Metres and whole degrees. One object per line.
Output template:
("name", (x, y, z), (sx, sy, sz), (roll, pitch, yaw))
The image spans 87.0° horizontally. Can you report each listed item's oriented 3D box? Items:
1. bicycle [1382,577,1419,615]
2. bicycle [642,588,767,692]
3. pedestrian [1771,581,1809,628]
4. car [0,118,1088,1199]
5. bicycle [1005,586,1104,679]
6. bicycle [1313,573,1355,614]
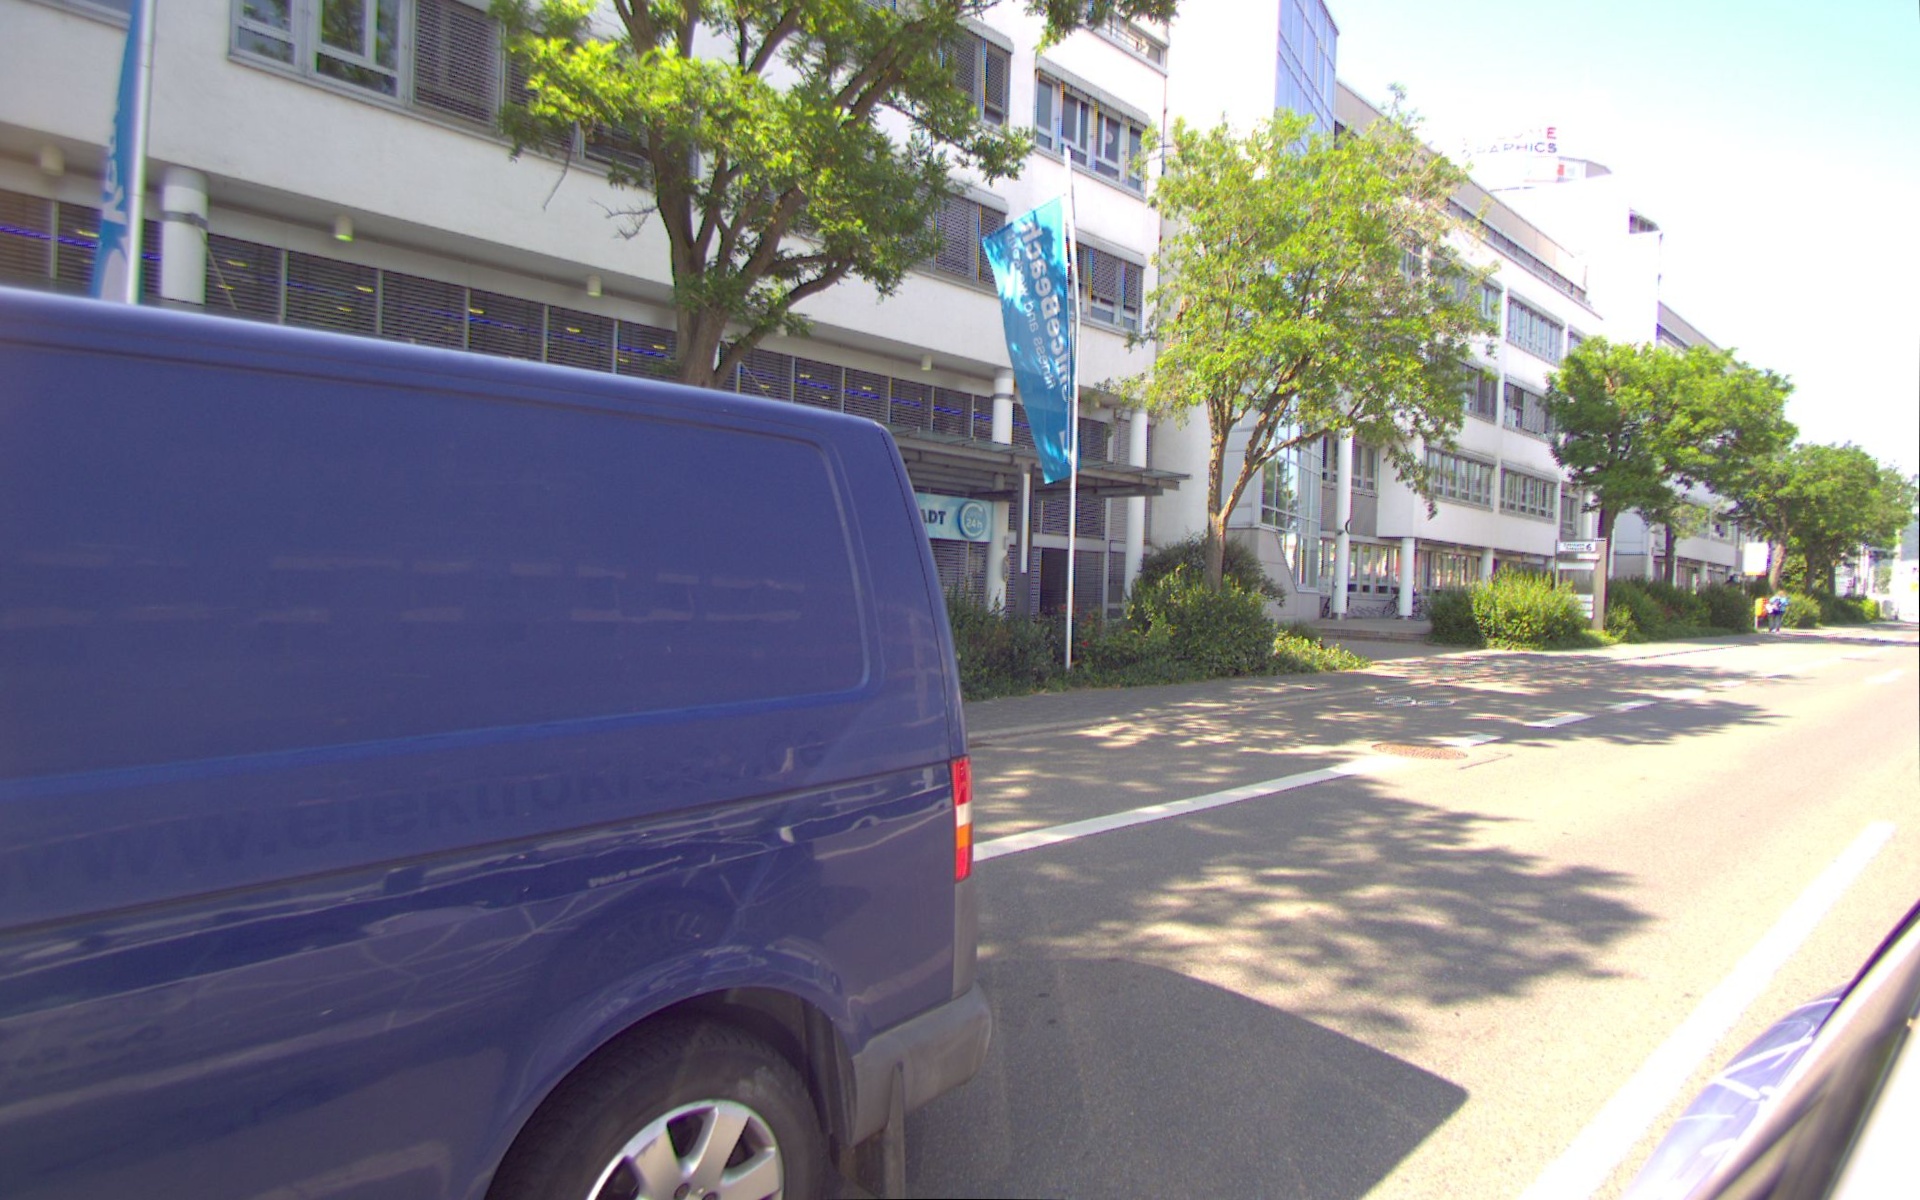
("bicycle", (16.338, -0.151, 37.503), (1.852, 1.371, 0.506), (0, 1, -41))
("bicycle", (-3.641, 0.532, 14.369), (1.868, 1.346, 0.501), (2, 1, 30))
("pedestrian", (35.194, 0.187, 42.919), (1.267, 1.909, 0.942), (0, 4, -41))
("car", (-2.159, 0.405, 1.601), (4.806, 1.972, 1.997), (-1, 2, -41))
("bicycle", (1.480, 0.474, 15.580), (0.504, 1.346, 1.856), (2, 1, 41))
("bicycle", (12.897, -0.219, 34.880), (1.852, 1.371, 0.506), (0, 1, -41))
